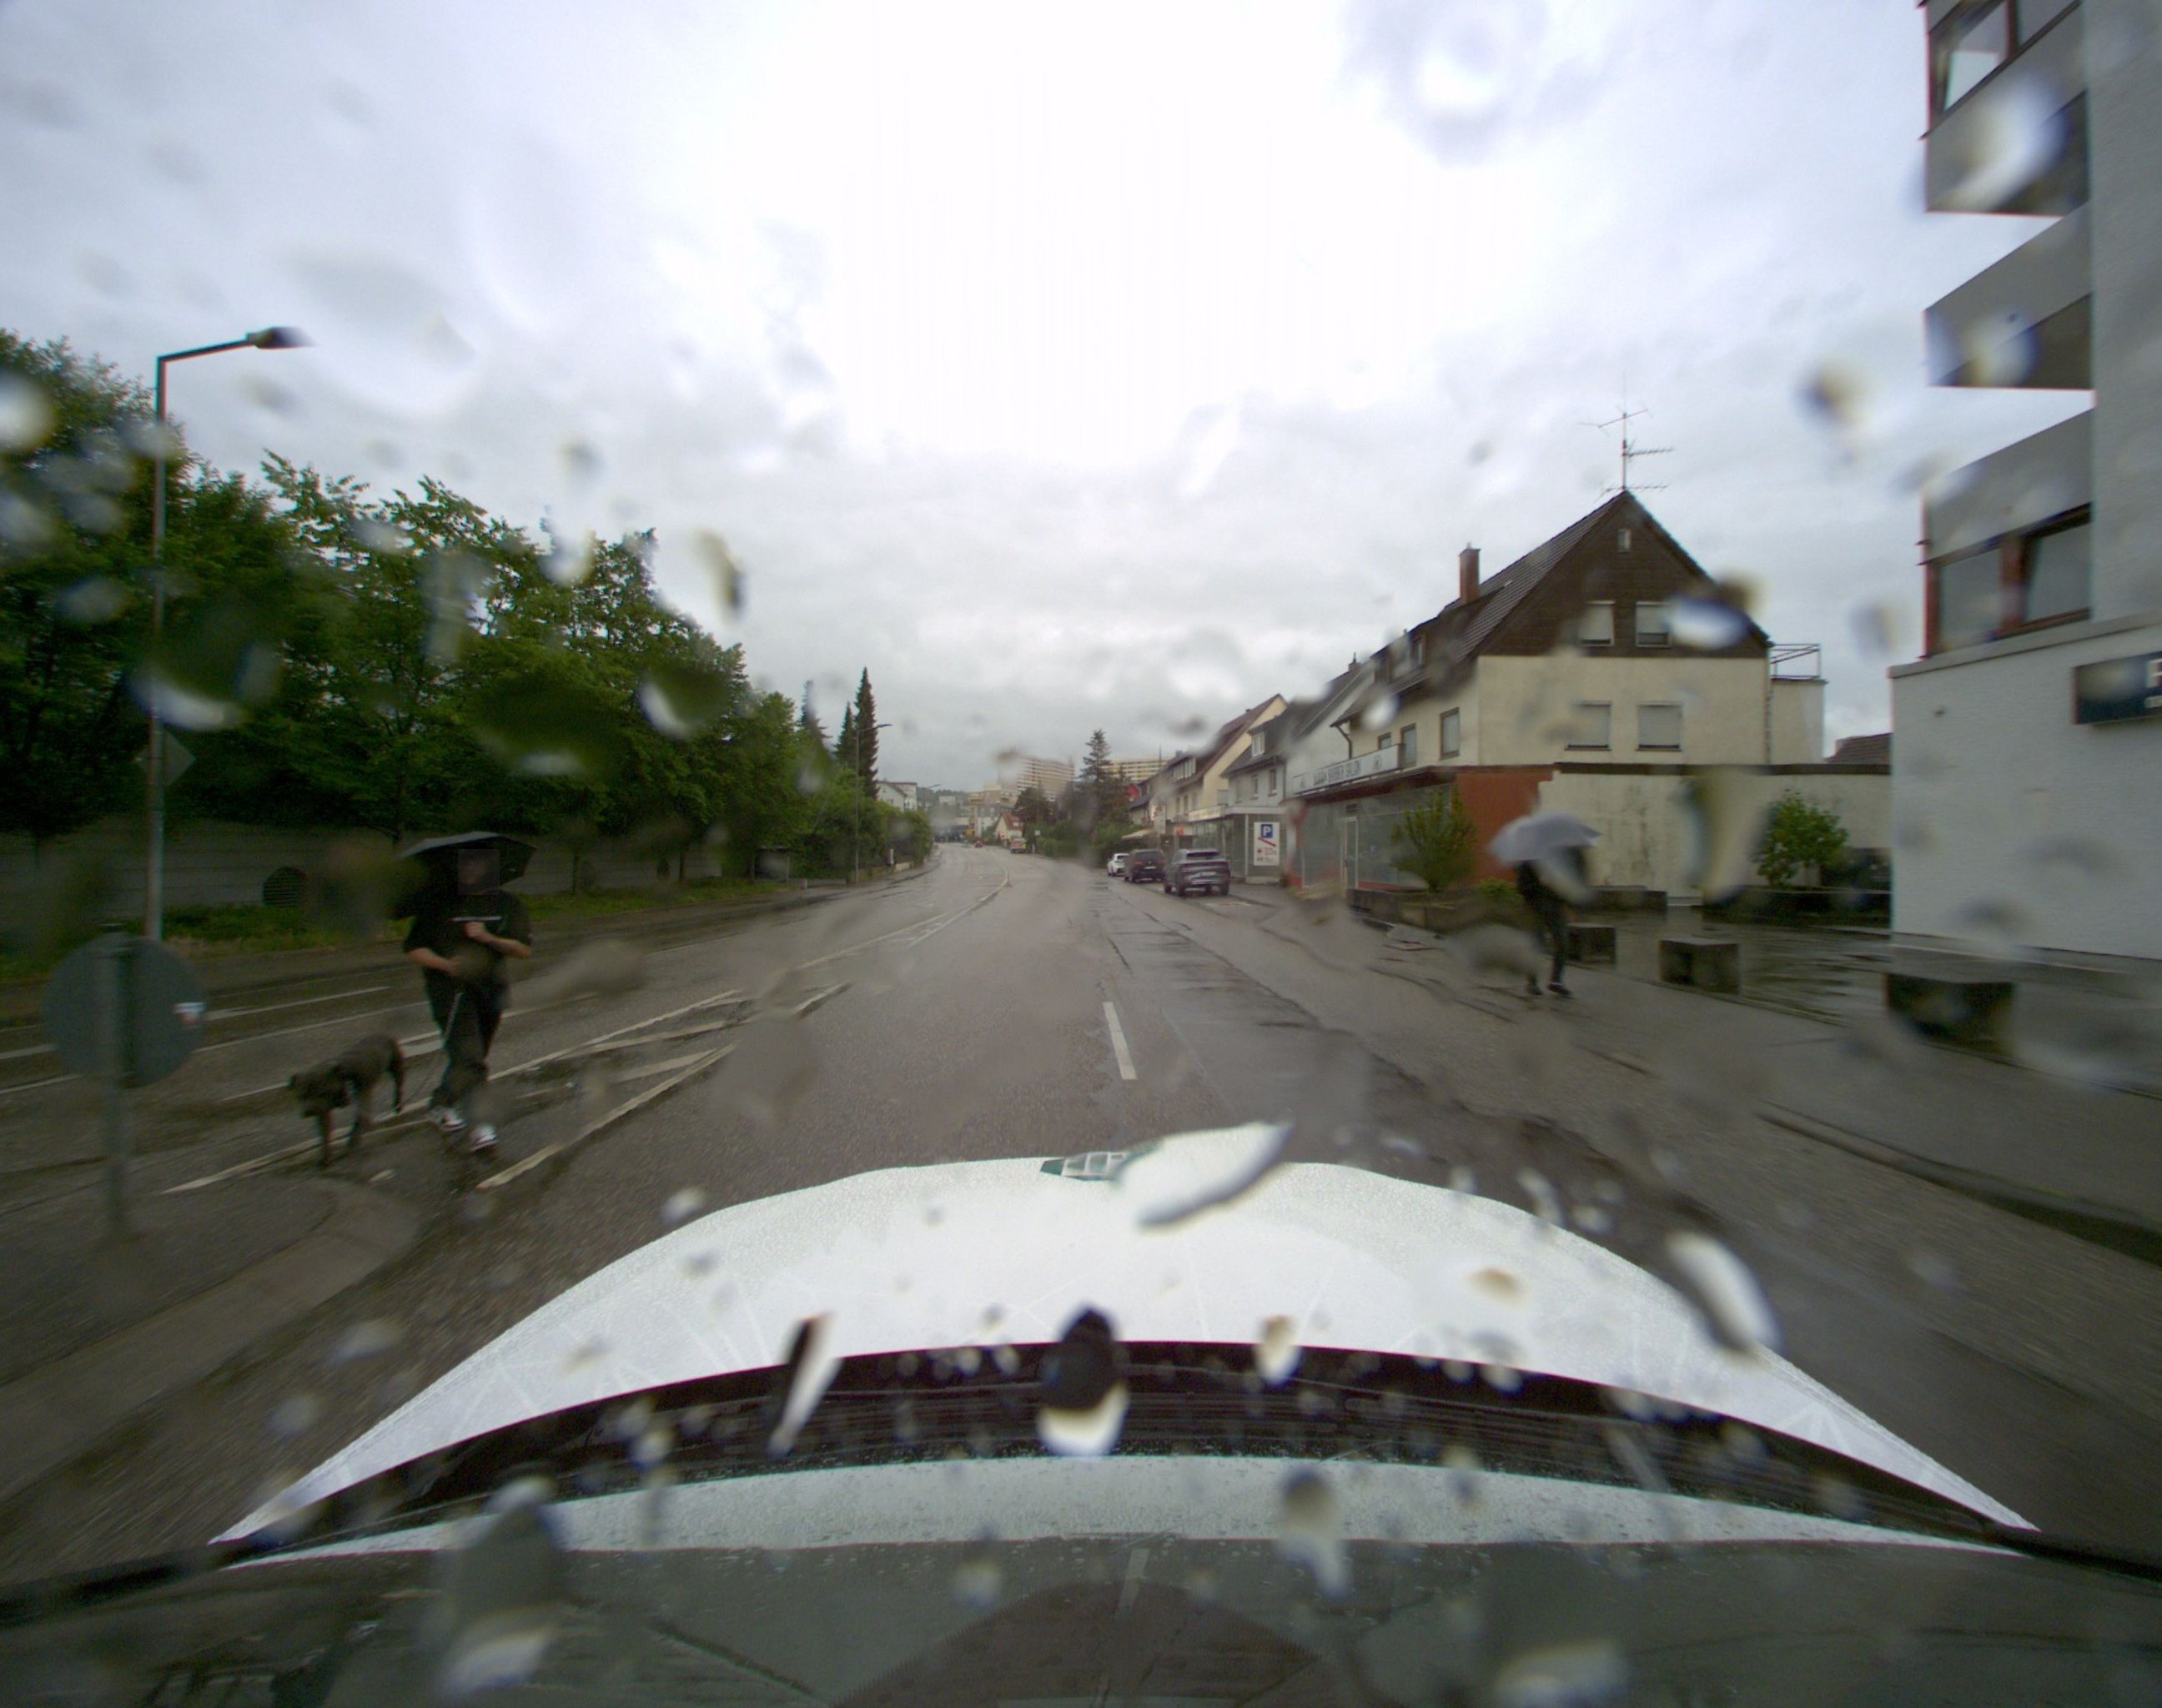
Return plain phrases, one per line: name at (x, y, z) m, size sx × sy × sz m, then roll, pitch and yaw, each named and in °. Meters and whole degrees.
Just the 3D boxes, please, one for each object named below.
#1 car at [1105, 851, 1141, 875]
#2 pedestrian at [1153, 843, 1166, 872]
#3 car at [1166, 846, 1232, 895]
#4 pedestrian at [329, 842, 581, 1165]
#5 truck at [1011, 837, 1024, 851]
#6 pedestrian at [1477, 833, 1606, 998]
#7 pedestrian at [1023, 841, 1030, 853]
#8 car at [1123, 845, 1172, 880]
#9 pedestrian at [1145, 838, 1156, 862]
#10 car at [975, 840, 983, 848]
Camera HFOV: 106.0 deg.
car at (2.718, 0.580, 53.692) m, size 1.812 × 1.448 × 4.197 m, roll -2°, pitch 0°, yaw -4°
pedestrian at (5.154, 0.217, 53.276) m, size 0.616 × 1.891 × 0.651 m, roll 0°, pitch 0°, yaw 31°
car at (4.381, 0.590, 30.972) m, size 1.868 × 1.643 × 4.793 m, roll -2°, pitch 0°, yaw 1°
pedestrian at (-3.685, 0.791, 4.865) m, size 0.661 × 1.702 × 0.951 m, roll 1°, pitch -1°, yaw 20°
truck at (-10.427, -1.627, 133.612) m, size 1.990 × 2.303 × 3.993 m, roll 0°, pitch 1°, yaw -5°
pedestrian at (4.692, 0.598, 8.363) m, size 0.750 × 1.568 × 0.993 m, roll 2°, pitch -1°, yaw 1°
pedestrian at (-8.700, -1.143, 129.185) m, size 0.827 × 1.797 × 0.793 m, roll -1°, pitch 1°, yaw -27°
car at (3.488, 0.447, 43.814) m, size 2.030 × 1.695 × 4.958 m, roll -2°, pitch 0°, yaw -2°
pedestrian at (4.807, -0.274, 56.437) m, size 0.554 × 1.678 × 0.511 m, roll 0°, pitch 0°, yaw -41°
car at (-23.418, -2.244, 187.533) m, size 1.793 × 1.669 × 3.990 m, roll -1°, pitch 0°, yaw -7°
